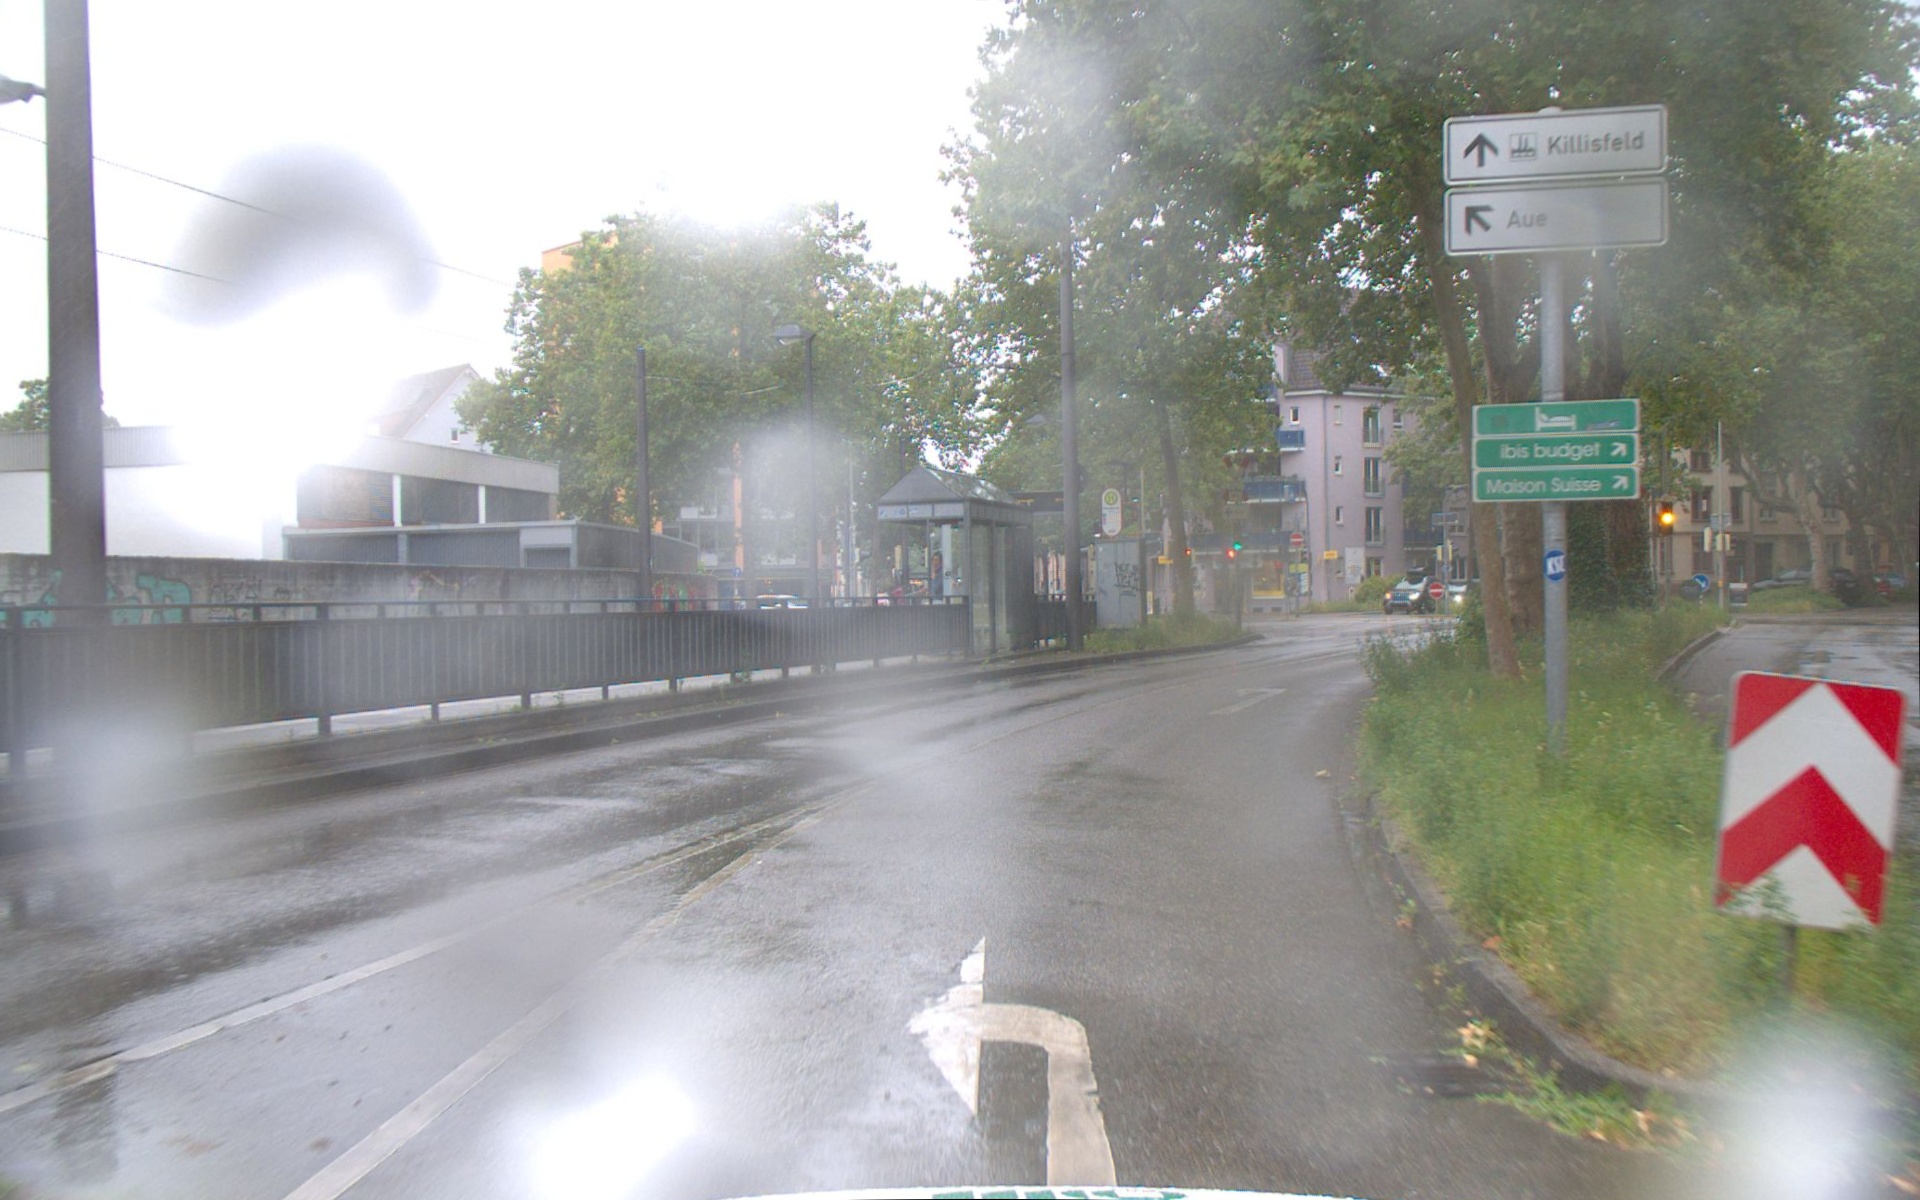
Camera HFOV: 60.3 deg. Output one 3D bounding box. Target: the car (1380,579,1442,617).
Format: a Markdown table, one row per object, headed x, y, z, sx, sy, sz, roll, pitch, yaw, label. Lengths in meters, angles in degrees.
| x | y | z | sx | sy | sz | roll | pitch | yaw | label |
| --- | --- | --- | --- | --- | --- | --- | --- | --- | --- |
| 20.637 | -0.105 | 75.667 | 1.694 | 1.579 | 3.550 | -4 | -1 | 33 | car |

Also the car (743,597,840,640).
| x | y | z | sx | sy | sz | roll | pitch | yaw | label |
| --- | --- | --- | --- | --- | --- | --- | --- | --- | --- |
| -7.388 | 0.815 | 72.318 | 3.944 | 1.680 | 1.963 | -4 | -1 | 40 | car |

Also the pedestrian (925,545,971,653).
| x | y | z | sx | sy | sz | roll | pitch | yaw | label |
| --- | --- | --- | --- | --- | --- | --- | --- | --- | --- |
| -0.206 | -0.006 | 27.684 | 0.571 | 1.761 | 0.566 | -3 | -1 | -15 | pedestrian |

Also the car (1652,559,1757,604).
| x | y | z | sx | sy | sz | roll | pitch | yaw | label |
| --- | --- | --- | --- | --- | --- | --- | --- | --- | --- |
| 29.062 | -0.706 | 64.597 | 3.421 | 1.550 | 1.514 | -4 | -1 | 36 | car |
